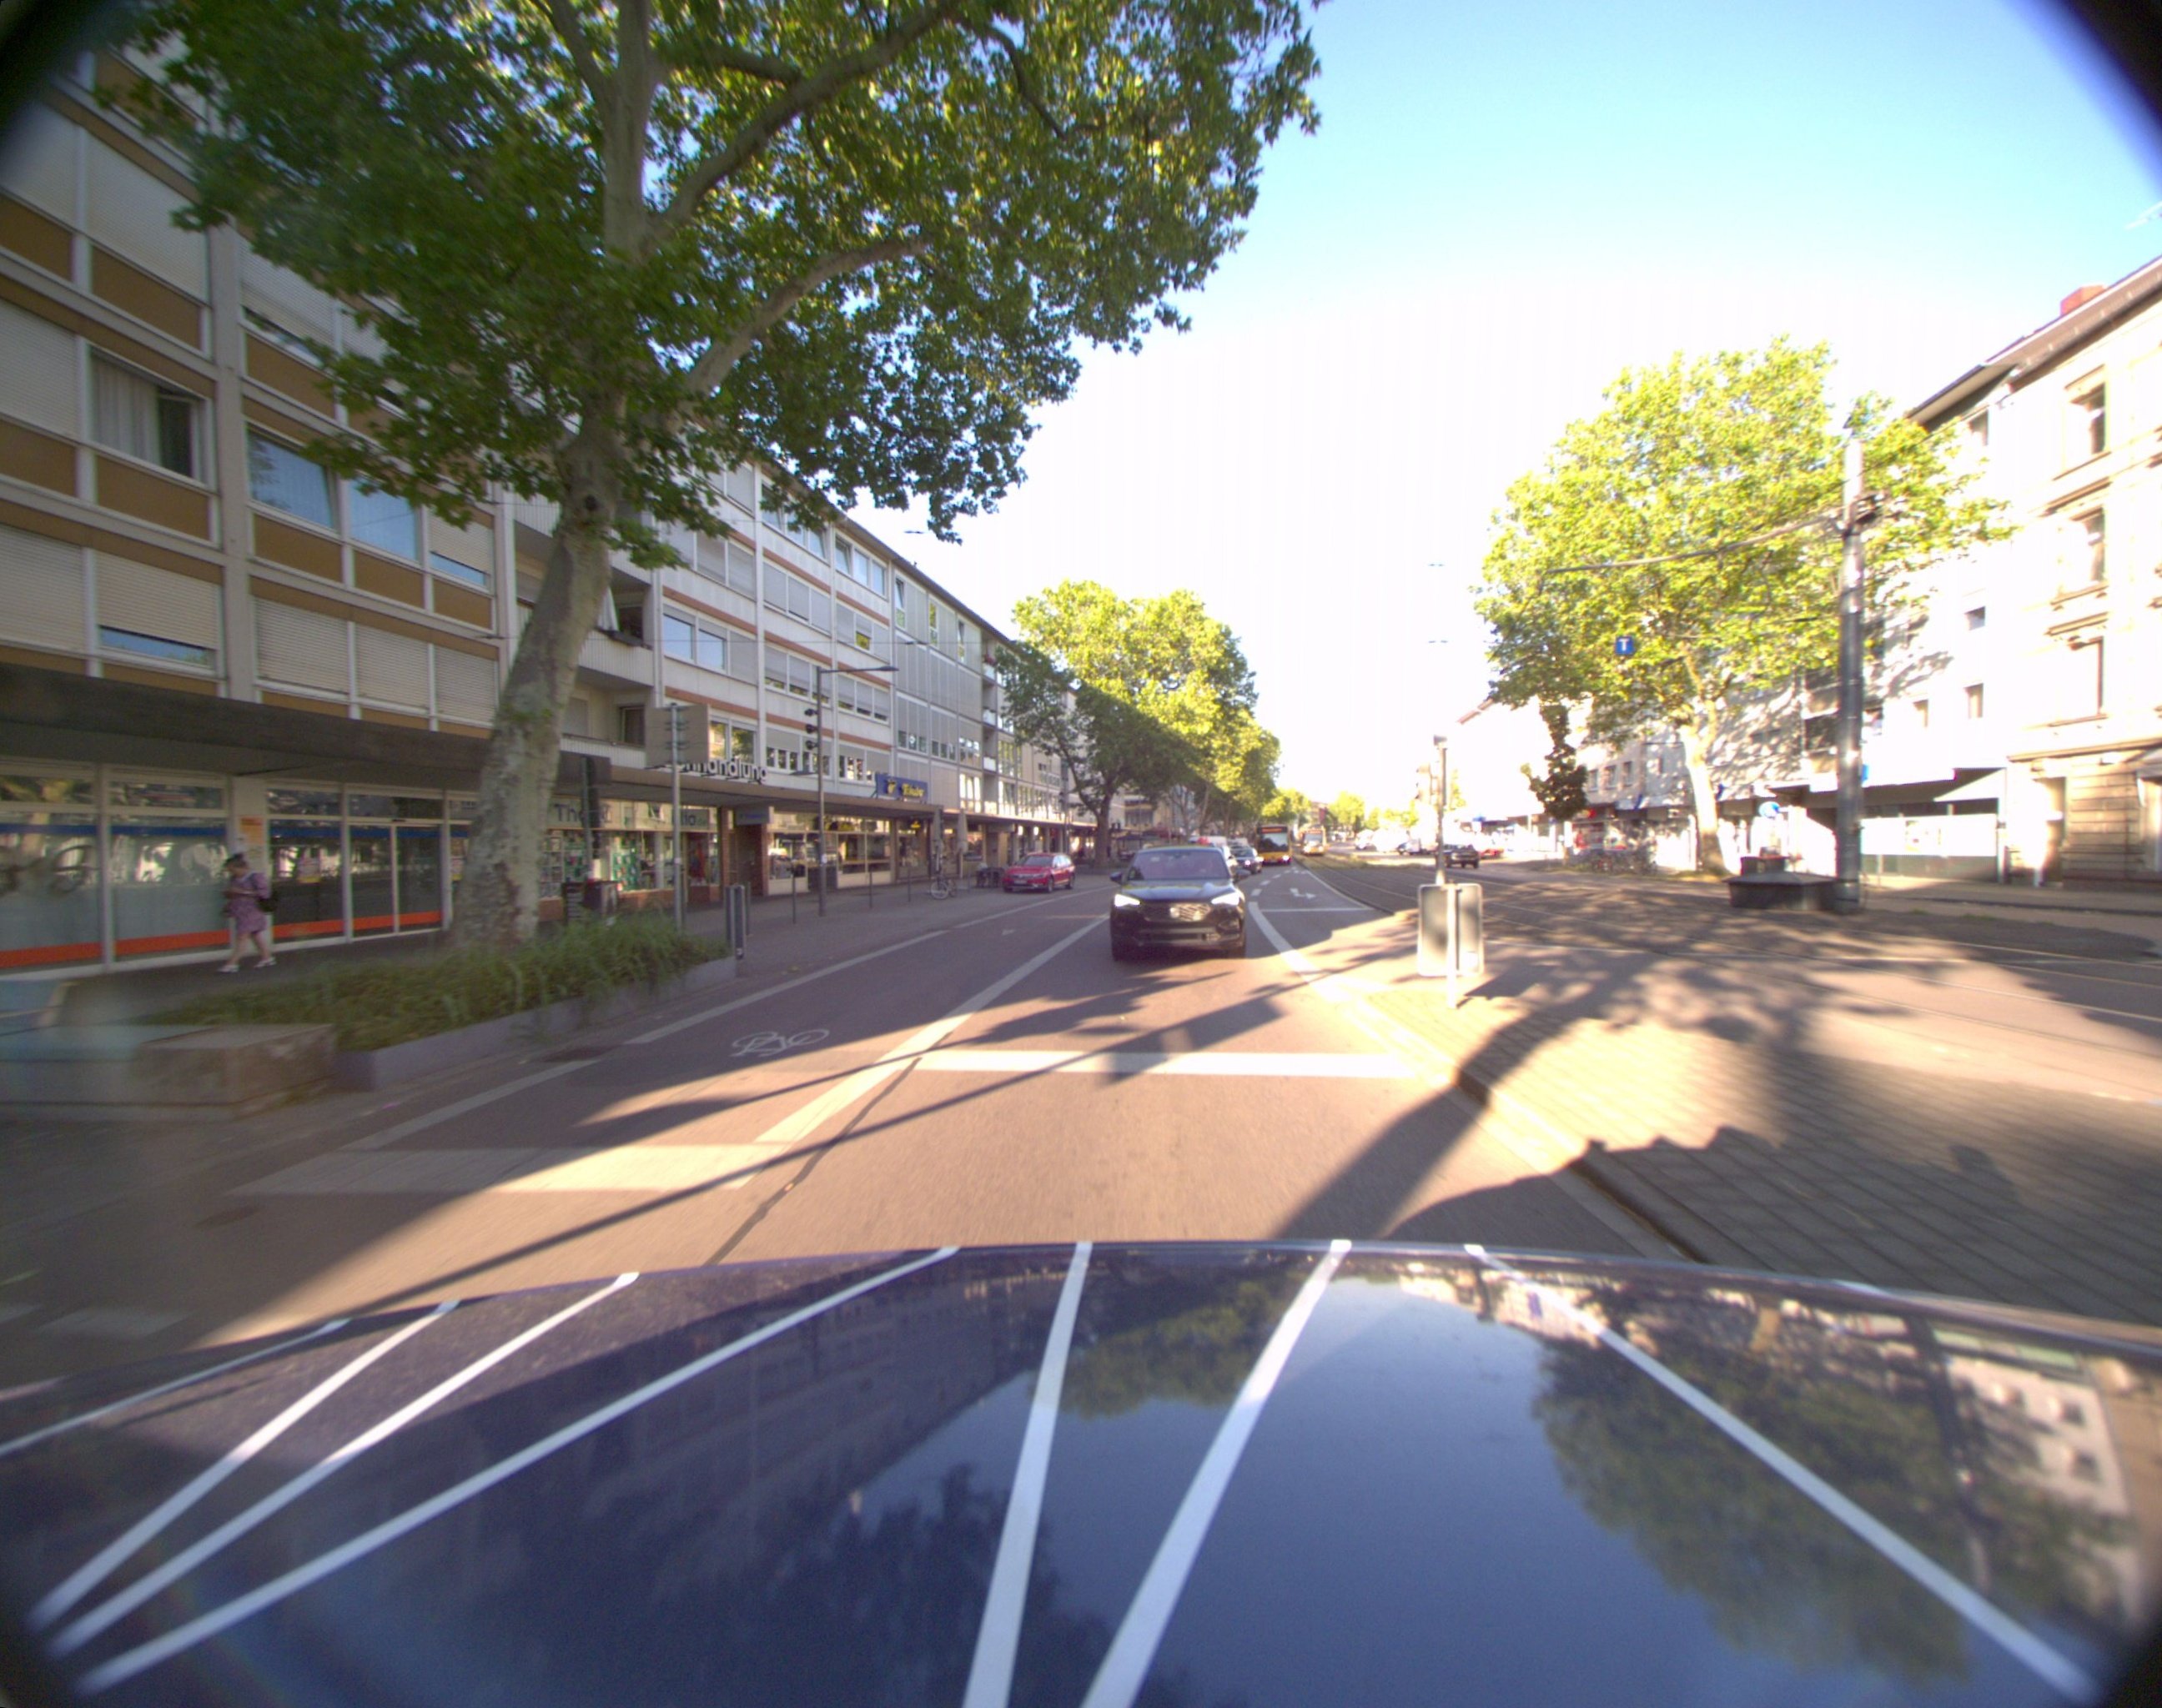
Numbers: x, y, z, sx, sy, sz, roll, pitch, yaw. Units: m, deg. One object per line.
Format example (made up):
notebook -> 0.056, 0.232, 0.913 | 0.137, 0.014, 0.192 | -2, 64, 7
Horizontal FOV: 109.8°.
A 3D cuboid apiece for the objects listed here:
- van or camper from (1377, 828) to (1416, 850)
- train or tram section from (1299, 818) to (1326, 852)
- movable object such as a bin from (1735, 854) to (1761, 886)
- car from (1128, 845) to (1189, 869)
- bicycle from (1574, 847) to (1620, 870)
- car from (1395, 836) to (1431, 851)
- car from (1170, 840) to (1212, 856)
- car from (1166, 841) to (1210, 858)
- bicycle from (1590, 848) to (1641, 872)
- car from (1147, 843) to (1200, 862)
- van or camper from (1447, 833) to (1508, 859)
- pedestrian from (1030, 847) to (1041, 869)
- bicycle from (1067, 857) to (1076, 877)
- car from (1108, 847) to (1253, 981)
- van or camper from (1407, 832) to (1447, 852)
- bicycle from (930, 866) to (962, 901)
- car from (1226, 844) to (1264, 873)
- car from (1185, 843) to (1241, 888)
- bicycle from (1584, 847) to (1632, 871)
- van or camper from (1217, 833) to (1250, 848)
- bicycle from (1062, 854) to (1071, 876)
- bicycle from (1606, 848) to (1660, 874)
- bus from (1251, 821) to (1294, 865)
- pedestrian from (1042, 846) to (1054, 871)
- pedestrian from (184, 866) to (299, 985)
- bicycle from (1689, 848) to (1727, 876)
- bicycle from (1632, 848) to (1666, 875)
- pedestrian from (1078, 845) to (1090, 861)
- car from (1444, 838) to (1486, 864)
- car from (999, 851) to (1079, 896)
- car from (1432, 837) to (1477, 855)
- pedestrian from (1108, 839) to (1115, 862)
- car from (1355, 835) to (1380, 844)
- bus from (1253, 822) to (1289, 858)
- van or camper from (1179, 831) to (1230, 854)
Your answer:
van or camper -> 44.205, -2.114, 106.261 | 6.409, 2.652, 1.995 | -3, 1, -37
train or tram section -> 25.921, -2.085, 84.714 | 2.635, 3.430, 11.142 | -2, 1, 18
movable object such as a bin -> 23.226, 0.565, 26.449 | 0.649, 1.087, 0.544 | -1, 1, -36
car -> 5.481, 0.176, 53.368 | 4.007, 1.597, 1.805 | -1, 1, -33
bicycle -> 26.296, 0.230, 38.736 | 1.897, 1.118, 0.534 | -2, 1, 12
car -> 40.556, -1.254, 92.806 | 4.005, 1.577, 1.875 | -3, 1, -29
car -> 11.130, -0.610, 76.940 | 4.005, 1.555, 1.656 | -1, 3, -25
car -> 10.397, -0.469, 73.813 | 4.005, 1.515, 1.656 | -1, 3, -25
bicycle -> 25.826, 0.284, 36.732 | 1.897, 1.118, 0.653 | -2, 1, 12
car -> 7.397, -0.134, 60.593 | 4.006, 1.428, 1.655 | -1, 3, -29
van or camper -> 32.363, -0.656, 62.011 | 4.821, 1.887, 1.947 | -3, 1, -28
pedestrian -> -2.991, 0.248, 49.719 | 0.537, 1.393, 0.687 | 2, 2, 14
bicycle -> -0.501, 0.679, 41.160 | 0.294, 1.034, 1.718 | 2, 1, 5
car -> 1.655, 0.751, 11.669 | 1.806, 1.638, 4.003 | -1, 1, 11
van or camper -> 39.149, -1.351, 86.027 | 4.457, 1.978, 1.796 | -3, 1, -30
bicycle -> -4.514, 0.974, 25.553 | 0.512, 1.064, 1.662 | 1, 1, 10
car -> 9.050, 0.211, 41.736 | 1.656, 1.477, 4.165 | -1, 1, 17
car -> 5.119, 0.374, 29.097 | 1.656, 1.572, 4.004 | -1, 1, 17
bicycle -> 26.013, 0.261, 37.513 | 1.897, 1.118, 0.534 | -2, 1, 12
van or camper -> 26.011, -2.225, 129.438 | 5.470, 2.455, 1.995 | -2, 1, -28
bicycle -> -0.783, 0.588, 41.162 | 0.294, 1.095, 1.718 | 2, 1, 5
bicycle -> 25.437, 0.323, 35.060 | 1.897, 1.118, 0.653 | -2, 1, 12
bus -> 15.230, -1.012, 60.698 | 2.869, 2.962, 12.248 | -3, 2, 13
pedestrian -> -2.147, 0.266, 49.651 | 0.537, 1.583, 0.687 | 2, 2, 14
pedestrian -> -11.553, 0.957, 10.487 | 0.640, 1.543, 0.808 | 0, 2, 6
bicycle -> 26.543, 0.319, 32.180 | 0.509, 1.118, 1.913 | -2, 1, 16
bicycle -> 24.479, 0.314, 32.771 | 0.509, 1.118, 1.913 | -2, 1, 16
pedestrian -> 0.262, -0.083, 63.661 | 0.749, 1.354, 0.963 | 0, 1, 19
car -> 23.375, -0.189, 46.407 | 1.888, 1.464, 4.212 | -1, 1, 21
car -> -1.550, 0.700, 29.991 | 1.781, 1.488, 4.572 | 1, 2, 15
car -> 35.793, -0.787, 72.827 | 4.458, 1.482, 1.765 | -3, 1, -32
pedestrian -> 2.681, -0.338, 67.272 | 0.552, 2.002, 0.577 | -3, 1, 0
car -> 52.713, -2.615, 139.780 | 3.915, 1.482, 1.768 | -3, 1, -8
bus -> 18.059, -1.431, 72.547 | 2.869, 2.962, 12.248 | -3, 2, 13
van or camper -> 13.670, -1.284, 84.052 | 5.470, 2.455, 1.995 | -2, 1, -25
